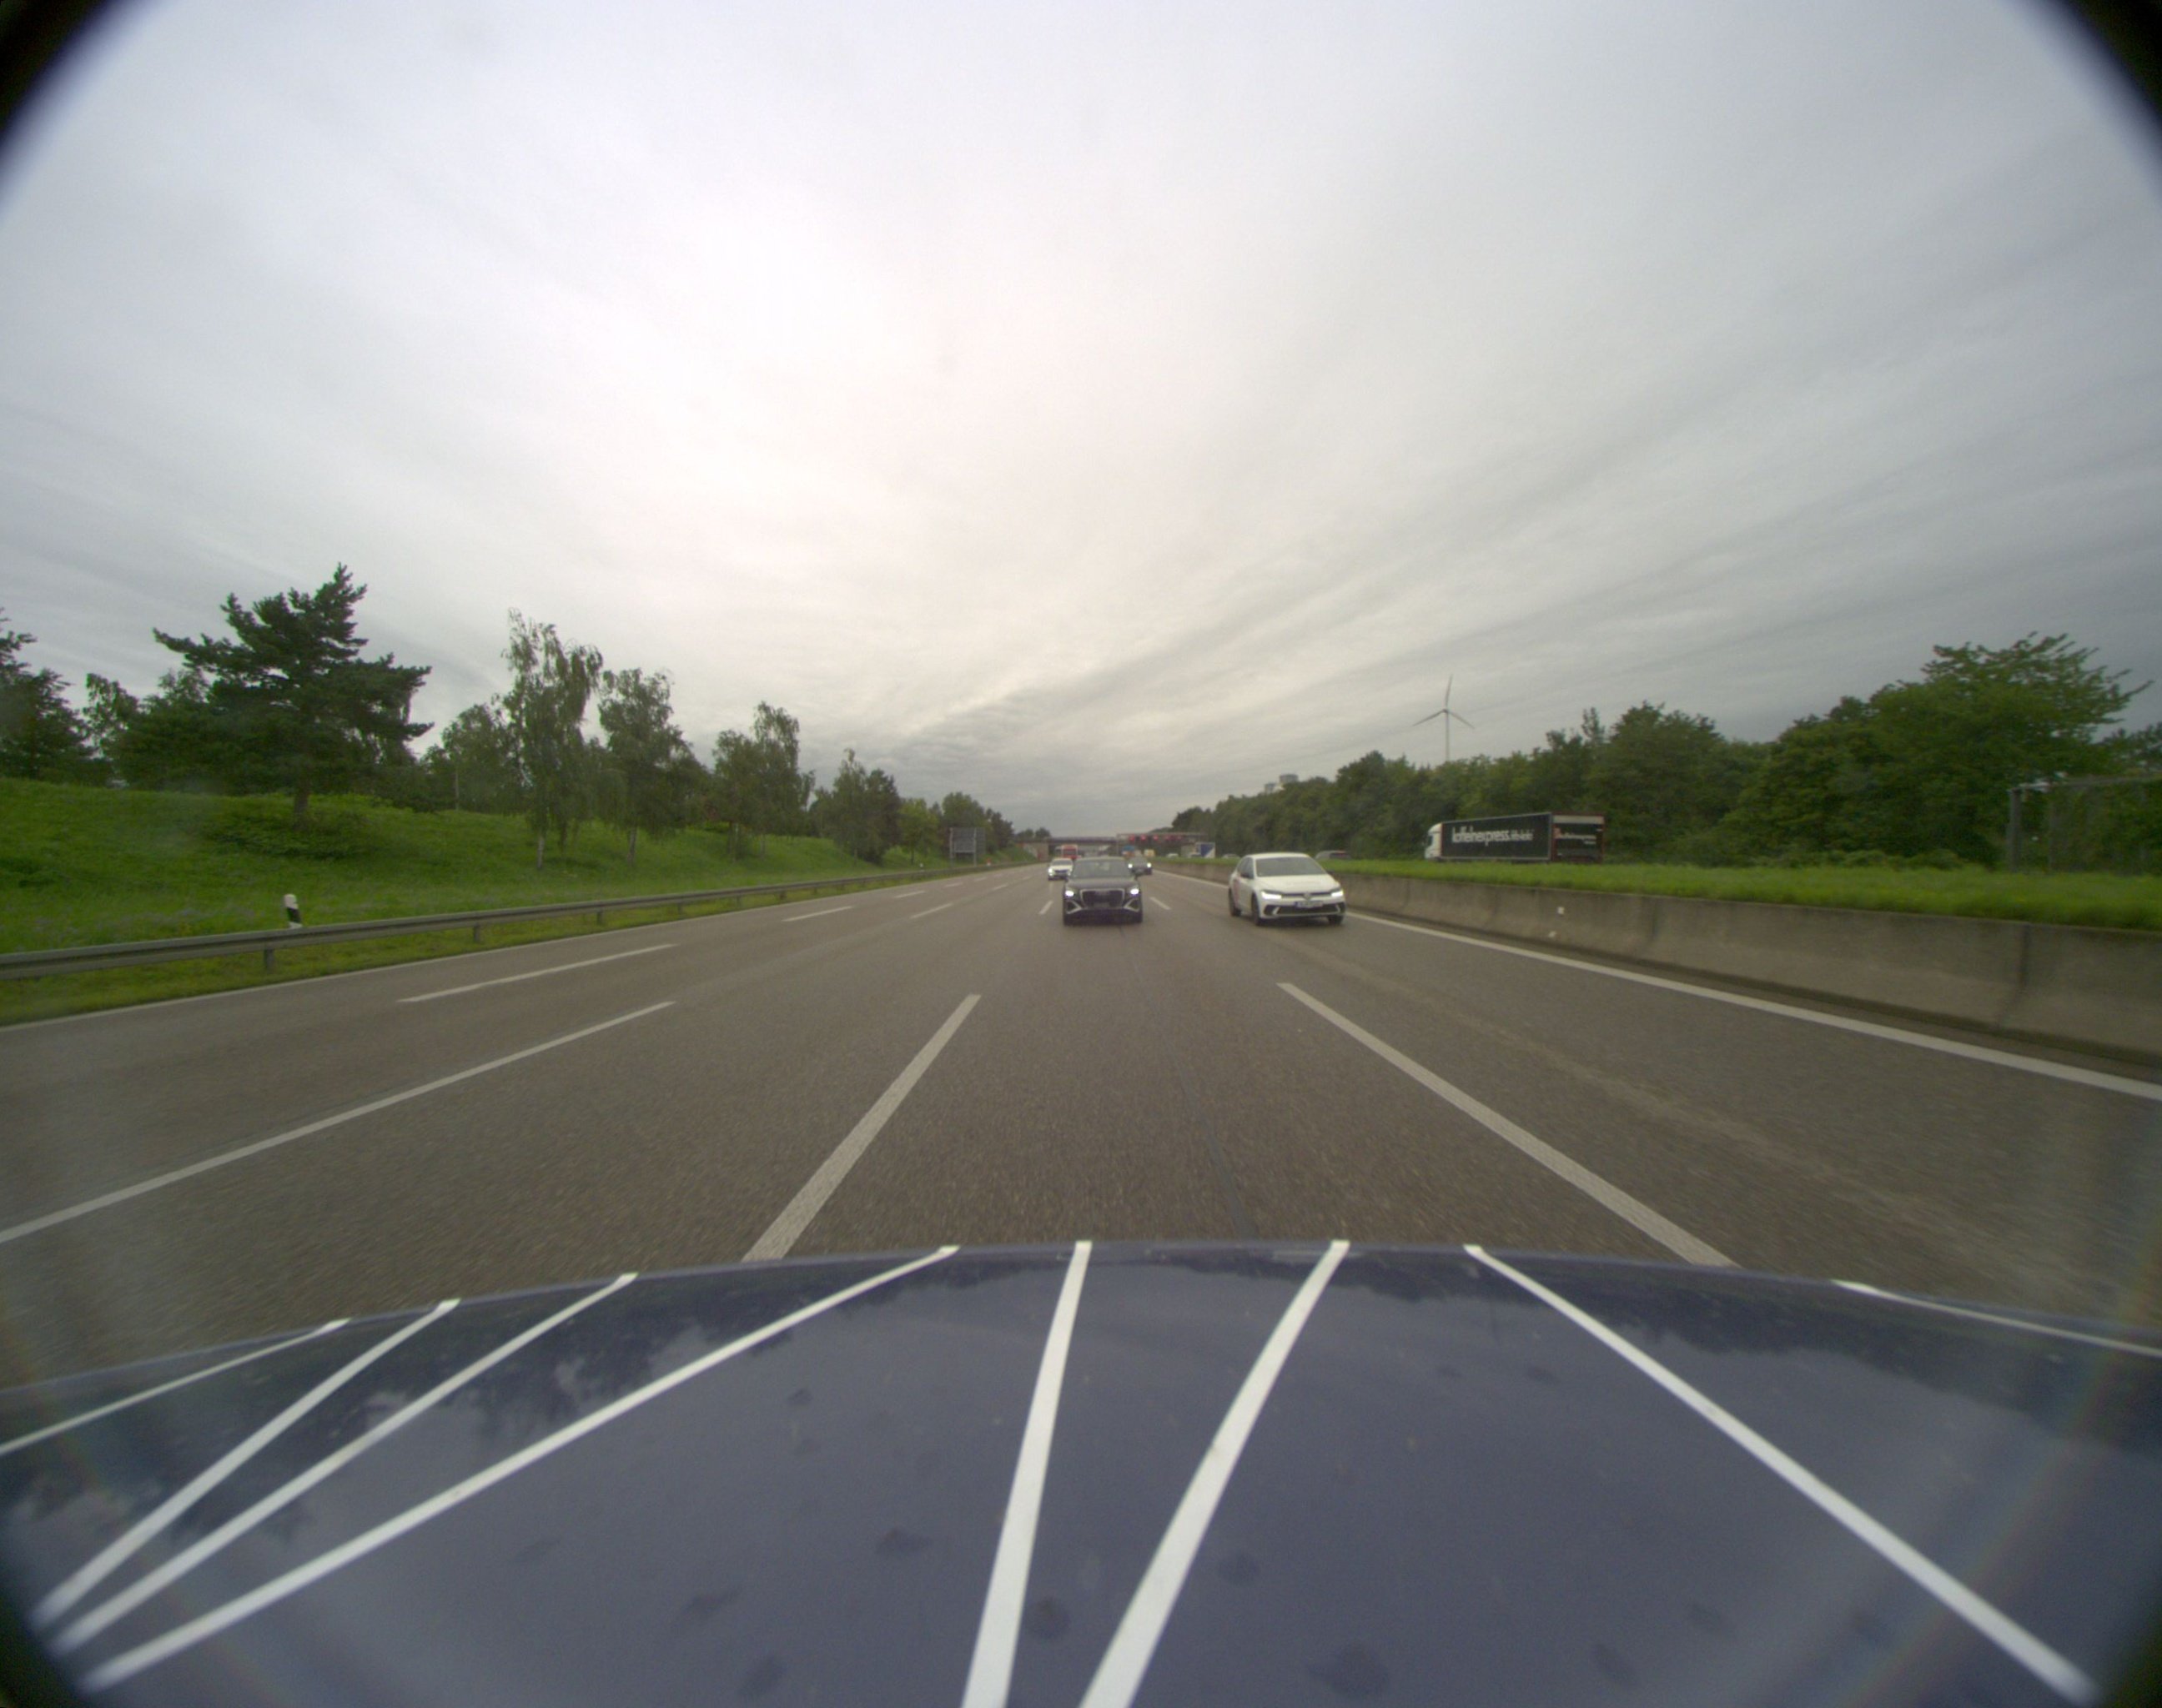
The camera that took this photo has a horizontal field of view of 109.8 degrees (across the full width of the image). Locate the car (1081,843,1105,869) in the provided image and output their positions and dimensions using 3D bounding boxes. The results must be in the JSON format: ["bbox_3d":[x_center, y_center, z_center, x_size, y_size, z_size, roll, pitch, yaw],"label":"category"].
[{"bbox_3d":[1.352,0.183,85.159,2.459,2.726,8.265,-2,1,1],"label":"car"}]

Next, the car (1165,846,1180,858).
[{"bbox_3d":[14.240,-0.347,118.565,1.826,1.652,4.148,-2,1,0],"label":"car"}]

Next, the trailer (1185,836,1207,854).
[{"bbox_3d":[21.125,-1.668,139.853,2.784,3.059,7.872,-2,1,1],"label":"trailer"}]

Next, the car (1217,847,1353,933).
[{"bbox_3d":[4.295,0.673,16.759,1.757,1.608,4.663,-1,0,0],"label":"car"}]

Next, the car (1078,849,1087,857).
[{"bbox_3d":[0.259,-0.214,178.920,1.998,1.641,3.999,-2,1,1],"label":"car"}]

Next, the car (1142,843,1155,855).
[{"bbox_3d":[14.467,-1.106,162.101,2.064,2.371,7.322,-2,1,0],"label":"car"}]

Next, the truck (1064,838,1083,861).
[{"bbox_3d":[-1.297,-0.774,129.633,2.836,3.634,10.670,-2,1,1],"label":"truck"}]

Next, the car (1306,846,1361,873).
[{"bbox_3d":[15.998,0.303,48.398,1.998,1.599,4.741,-2,0,1],"label":"car"}]

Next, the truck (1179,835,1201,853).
[{"bbox_3d":[21.388,-1.928,149.487,2.891,3.202,11.357,-2,1,2],"label":"truck"}]

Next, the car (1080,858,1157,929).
[{"bbox_3d":[0.810,0.859,18.101,1.616,1.403,3.326,-2,1,0],"label":"car"}]

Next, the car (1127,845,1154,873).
[{"bbox_3d":[4.432,0.323,57.140,1.725,2.002,3.851,-2,1,1],"label":"car"}]

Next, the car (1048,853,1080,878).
[{"bbox_3d":[-1.102,0.761,52.516,1.998,1.555,4.910,-3,0,1],"label":"car"}]

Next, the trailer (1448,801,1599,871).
[{"bbox_3d":[23.846,-0.937,41.853,2.312,3.271,10.562,-2,1,2],"label":"trailer"}]

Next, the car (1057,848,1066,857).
[{"bbox_3d":[-4.656,-0.460,180.633,1.998,2.002,4.000,-2,1,2],"label":"car"}]

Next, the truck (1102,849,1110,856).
[{"bbox_3d":[6.952,-0.493,211.772,1.998,2.002,4.000,-2,0,1],"label":"truck"}]

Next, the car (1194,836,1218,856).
[{"bbox_3d":[17.960,-1.144,109.243,2.327,2.719,7.315,-2,1,1],"label":"car"}]

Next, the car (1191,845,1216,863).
[{"bbox_3d":[14.679,-0.036,91.322,2.126,2.002,4.519,-2,0,-1],"label":"car"}]

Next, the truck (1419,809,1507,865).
[{"bbox_3d":[24.046,-1.048,48.220,2.321,3.254,6.581,-2,1,1],"label":"truck"}]
